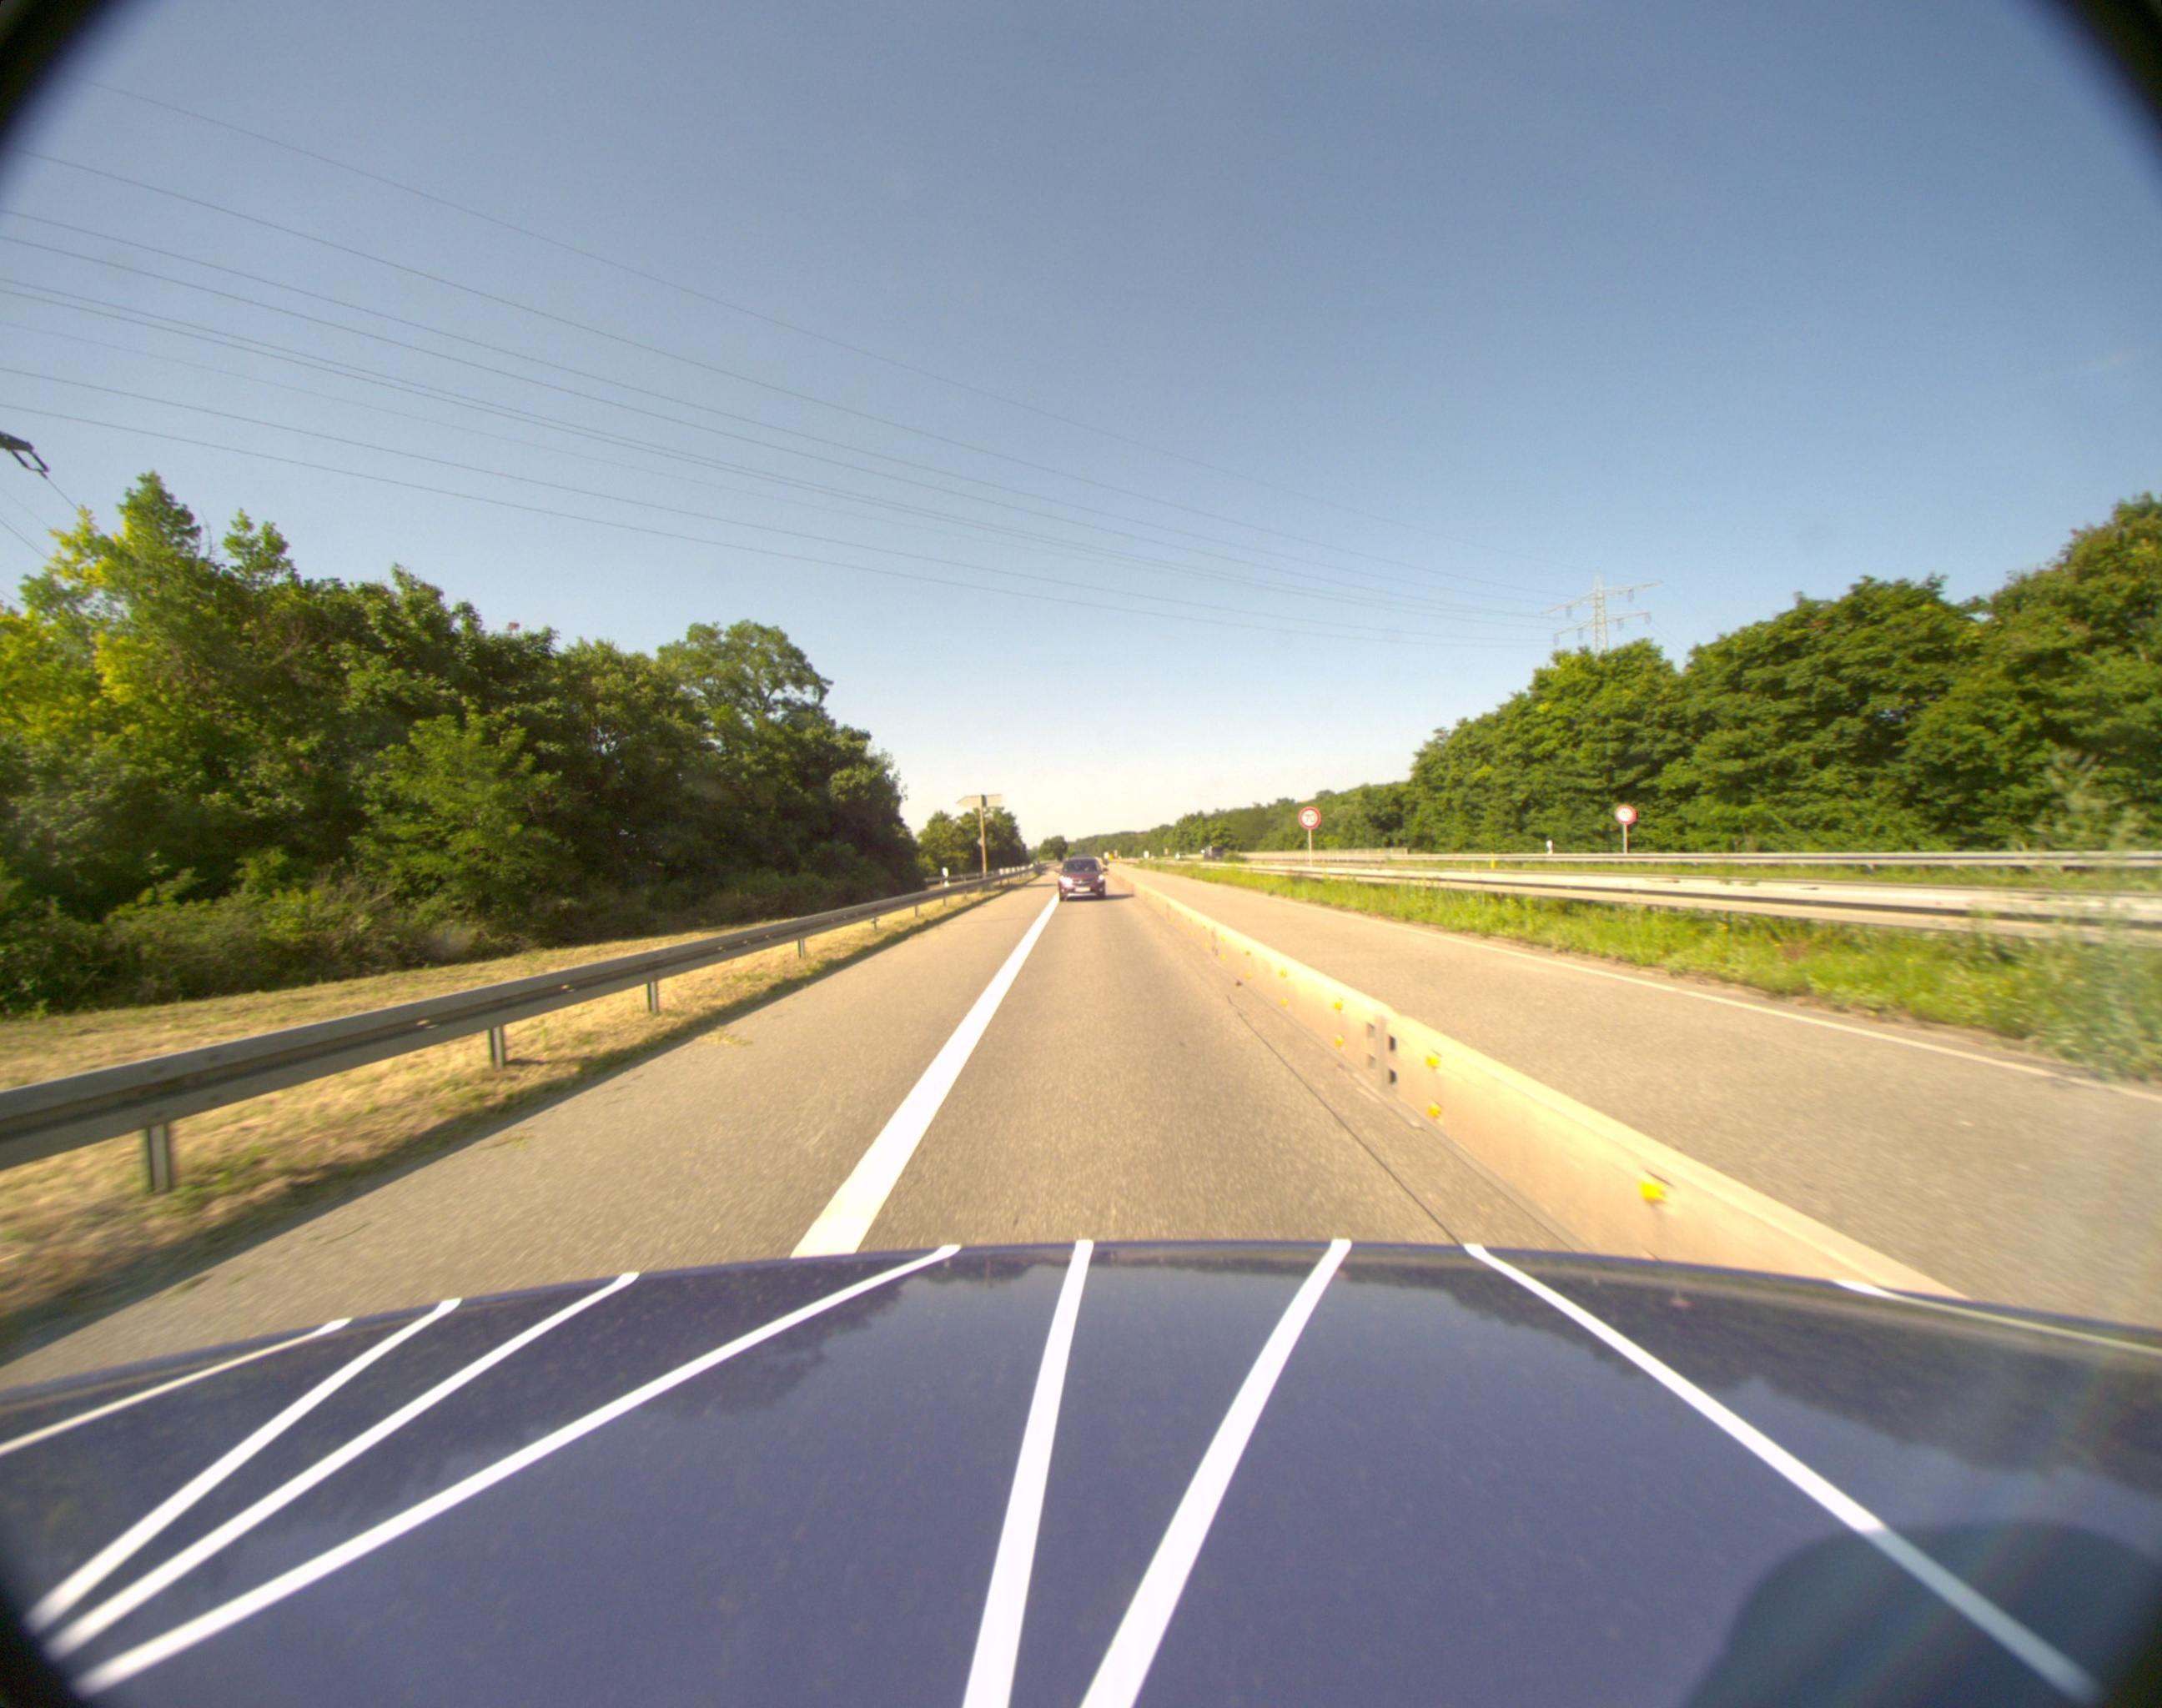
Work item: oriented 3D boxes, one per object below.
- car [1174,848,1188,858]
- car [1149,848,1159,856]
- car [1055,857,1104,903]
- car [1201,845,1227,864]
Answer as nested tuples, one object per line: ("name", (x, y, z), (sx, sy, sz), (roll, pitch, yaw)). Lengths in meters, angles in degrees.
("car", (16.062, -0.208, 121.778), (1.651, 1.522, 3.818), (-3, 0, 0))
("car", (16.220, -0.435, 168.378), (1.767, 1.574, 4.422), (-3, 0, 1))
("car", (0.014, 0.883, 27.501), (1.587, 1.491, 4.416), (-2, 0, 2))
("car", (15.324, 0.053, 87.688), (1.999, 2.022, 5.167), (-2, 0, -1))
